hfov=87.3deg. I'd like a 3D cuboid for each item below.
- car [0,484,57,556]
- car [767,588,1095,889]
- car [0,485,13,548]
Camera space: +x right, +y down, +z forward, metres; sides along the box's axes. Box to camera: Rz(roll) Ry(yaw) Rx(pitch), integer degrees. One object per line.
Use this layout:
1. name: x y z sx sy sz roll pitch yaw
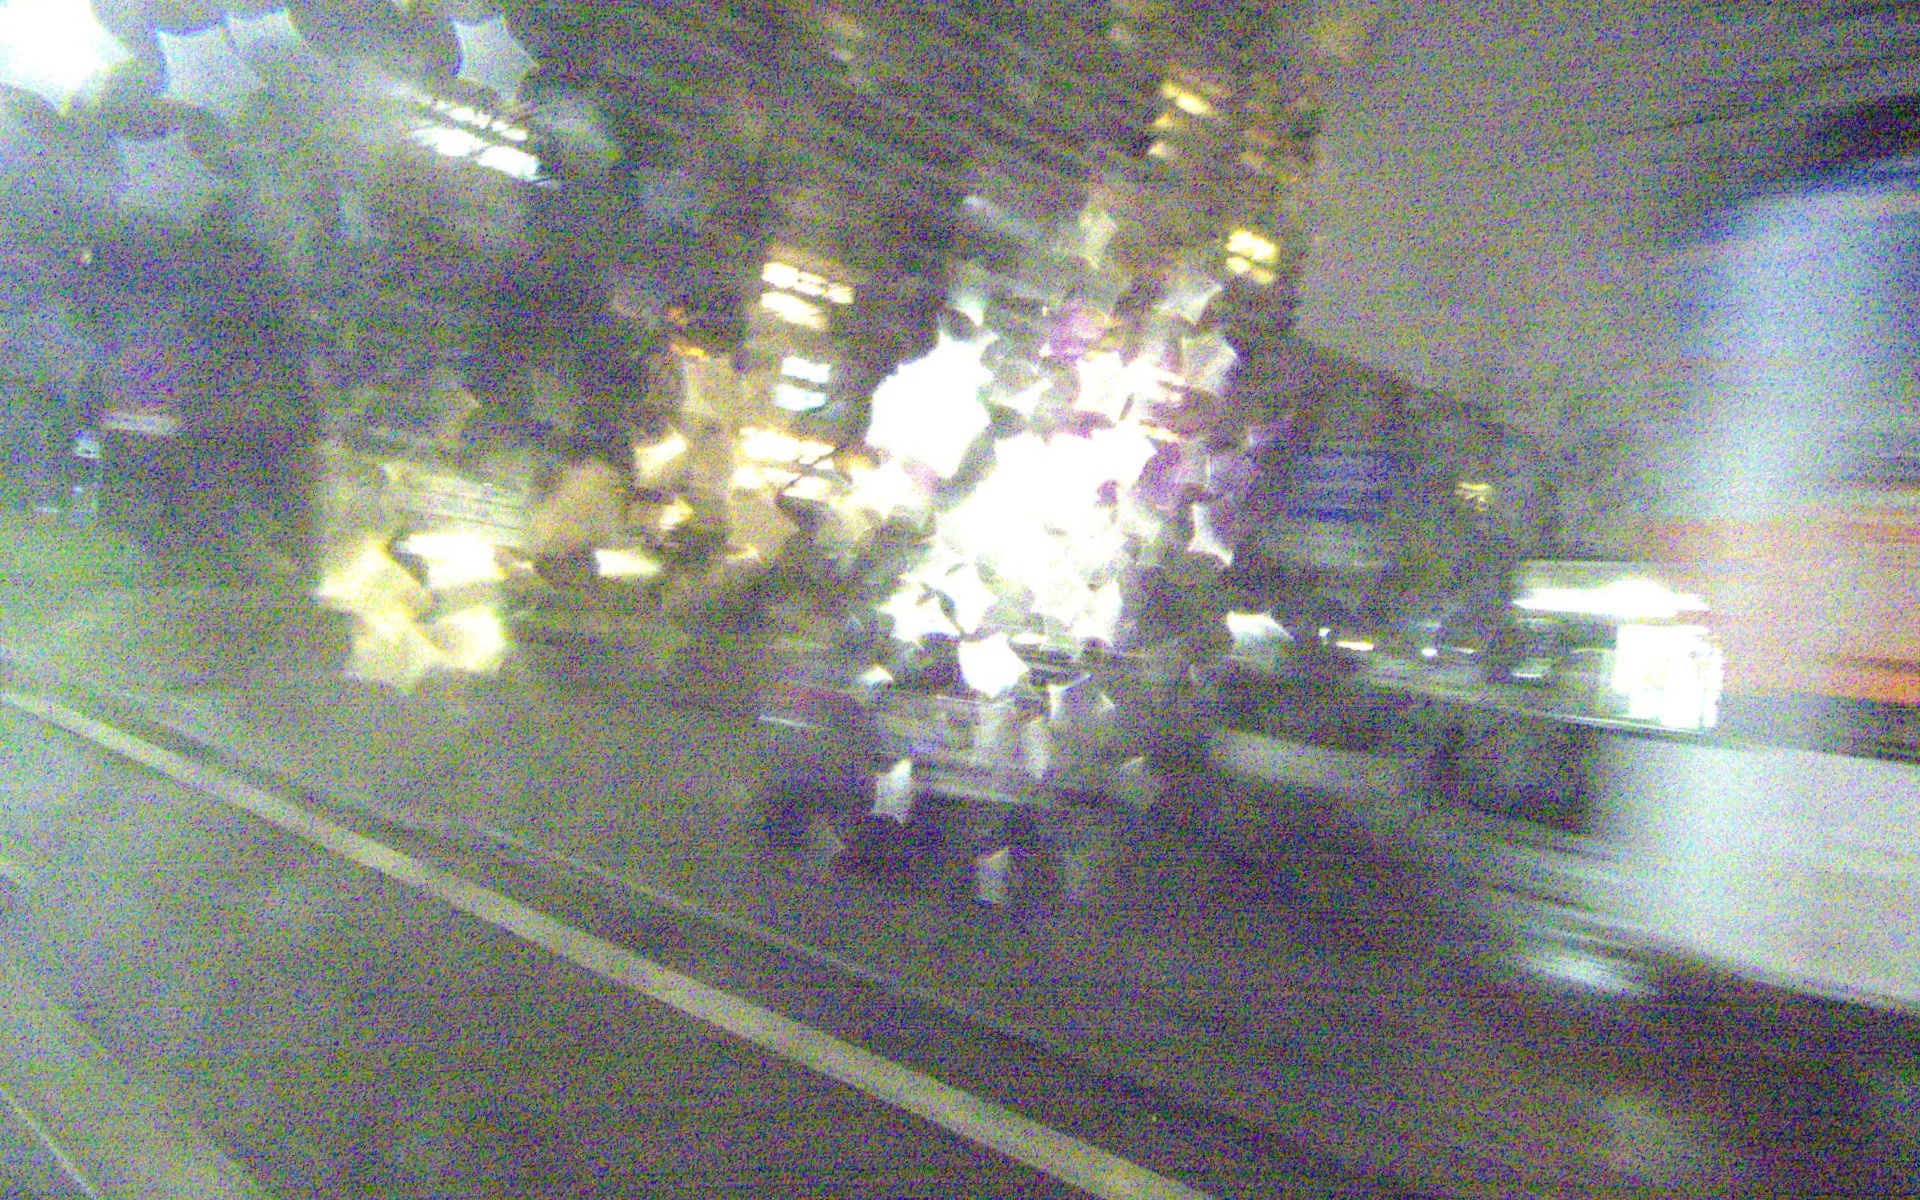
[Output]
1. car: -21.916 -1.915 20.768 1.805 1.493 4.602 7 0 12
2. car: -0.400 0.795 7.712 1.652 1.485 4.337 7 -1 -7
3. car: -24.841 -2.223 23.418 1.627 1.536 3.707 7 0 13
